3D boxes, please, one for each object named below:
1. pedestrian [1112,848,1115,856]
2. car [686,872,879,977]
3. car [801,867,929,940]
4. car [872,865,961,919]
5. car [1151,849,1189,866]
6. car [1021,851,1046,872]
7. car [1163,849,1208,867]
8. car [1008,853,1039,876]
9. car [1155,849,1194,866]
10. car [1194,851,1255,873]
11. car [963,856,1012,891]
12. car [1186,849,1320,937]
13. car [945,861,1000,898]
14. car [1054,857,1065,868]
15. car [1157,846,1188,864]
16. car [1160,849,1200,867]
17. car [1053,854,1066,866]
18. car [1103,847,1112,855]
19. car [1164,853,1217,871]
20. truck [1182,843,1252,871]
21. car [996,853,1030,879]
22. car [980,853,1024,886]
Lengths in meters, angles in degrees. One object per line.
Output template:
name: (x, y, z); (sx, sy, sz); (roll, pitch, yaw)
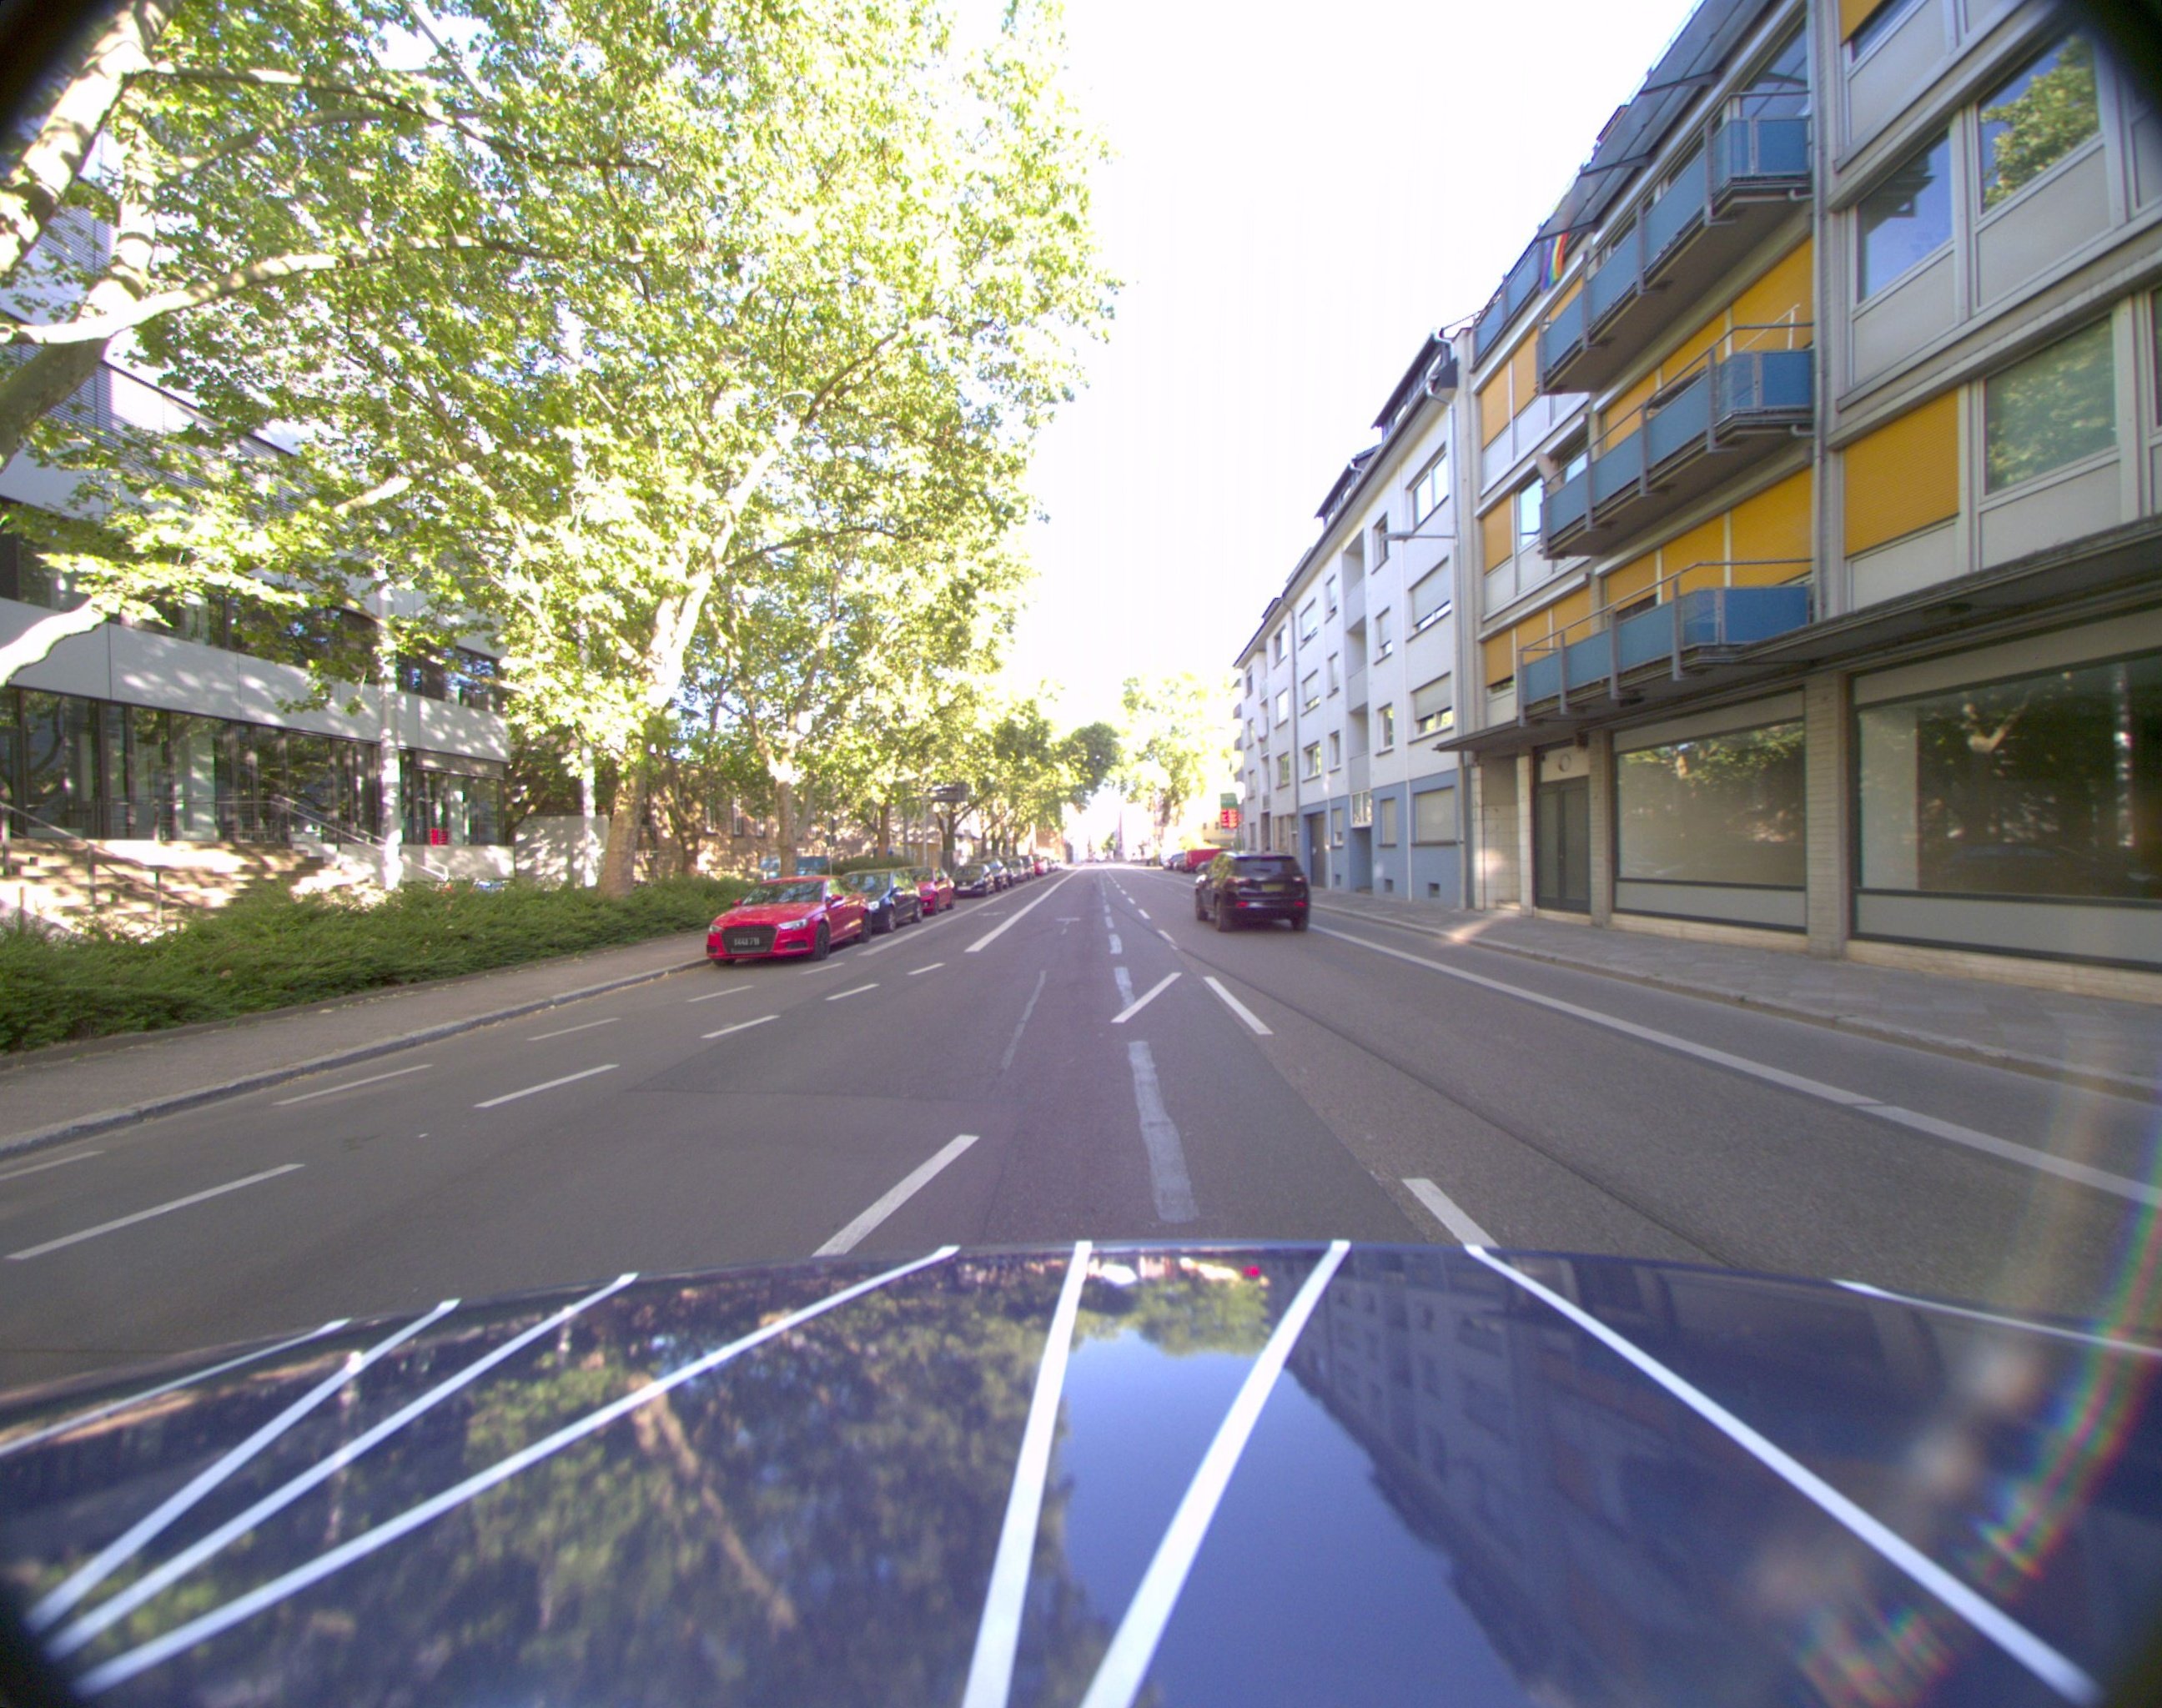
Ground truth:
pedestrian: (8.440, -0.465, 196.812); (0.614, 1.981, 0.710); (-2, 1, -3)
car: (-5.108, 1.128, 13.690); (1.775, 1.416, 4.173); (-3, 0, 0)
car: (-5.074, 1.117, 18.452); (1.813, 1.449, 4.000); (-1, 0, 2)
car: (-5.010, 1.119, 23.673); (1.790, 1.429, 4.000); (-1, 0, 1)
car: (9.485, 0.368, 80.855); (3.728, 1.579, 1.743); (-2, 1, -5)
car: (-4.108, 0.612, 66.175); (1.876, 1.685, 4.166); (-1, 0, 1)
car: (10.081, 0.376, 73.357); (3.998, 1.618, 1.702); (-2, 1, -5)
car: (-4.170, 0.748, 55.506); (1.831, 1.608, 4.177); (-1, 0, 1)
car: (9.615, 0.373, 78.564); (3.703, 1.573, 1.718); (-2, 1, -5)
car: (10.306, 0.534, 54.786); (3.997, 1.385, 1.781); (-2, 1, -1)
car: (-4.625, 0.919, 38.205); (1.848, 1.572, 4.232); (-2, 0, 1)
car: (3.524, 0.717, 16.421); (1.854, 1.561, 4.384); (-2, 1, 0)
car: (-4.679, 1.081, 33.259); (1.745, 1.430, 4.000); (-1, 0, 1)
car: (-2.628, 1.022, 92.520); (1.300, 1.220, 3.240); (-1, 2, 0)
car: (10.228, 0.102, 85.192); (3.267, 1.927, 1.693); (-2, 1, 2)
car: (9.879, 0.376, 75.905); (3.658, 1.578, 1.659); (-2, 1, -5)
car: (-2.869, 0.806, 102.891); (1.707, 1.459, 3.809); (-1, 0, 0)
car: (6.769, -0.810, 193.457); (1.998, 2.002, 3.999); (-2, 1, 1)
car: (9.047, 0.664, 62.803); (4.033, 1.265, 1.906); (-2, 1, -1)
truck: (10.726, 0.234, 60.091); (5.088, 2.009, 2.000); (-2, 1, 0)
car: (-4.442, 0.737, 50.449); (1.798, 1.608, 4.075); (-1, 0, 1)
car: (-4.547, 0.866, 44.188); (1.998, 1.715, 4.262); (-2, 1, 1)
